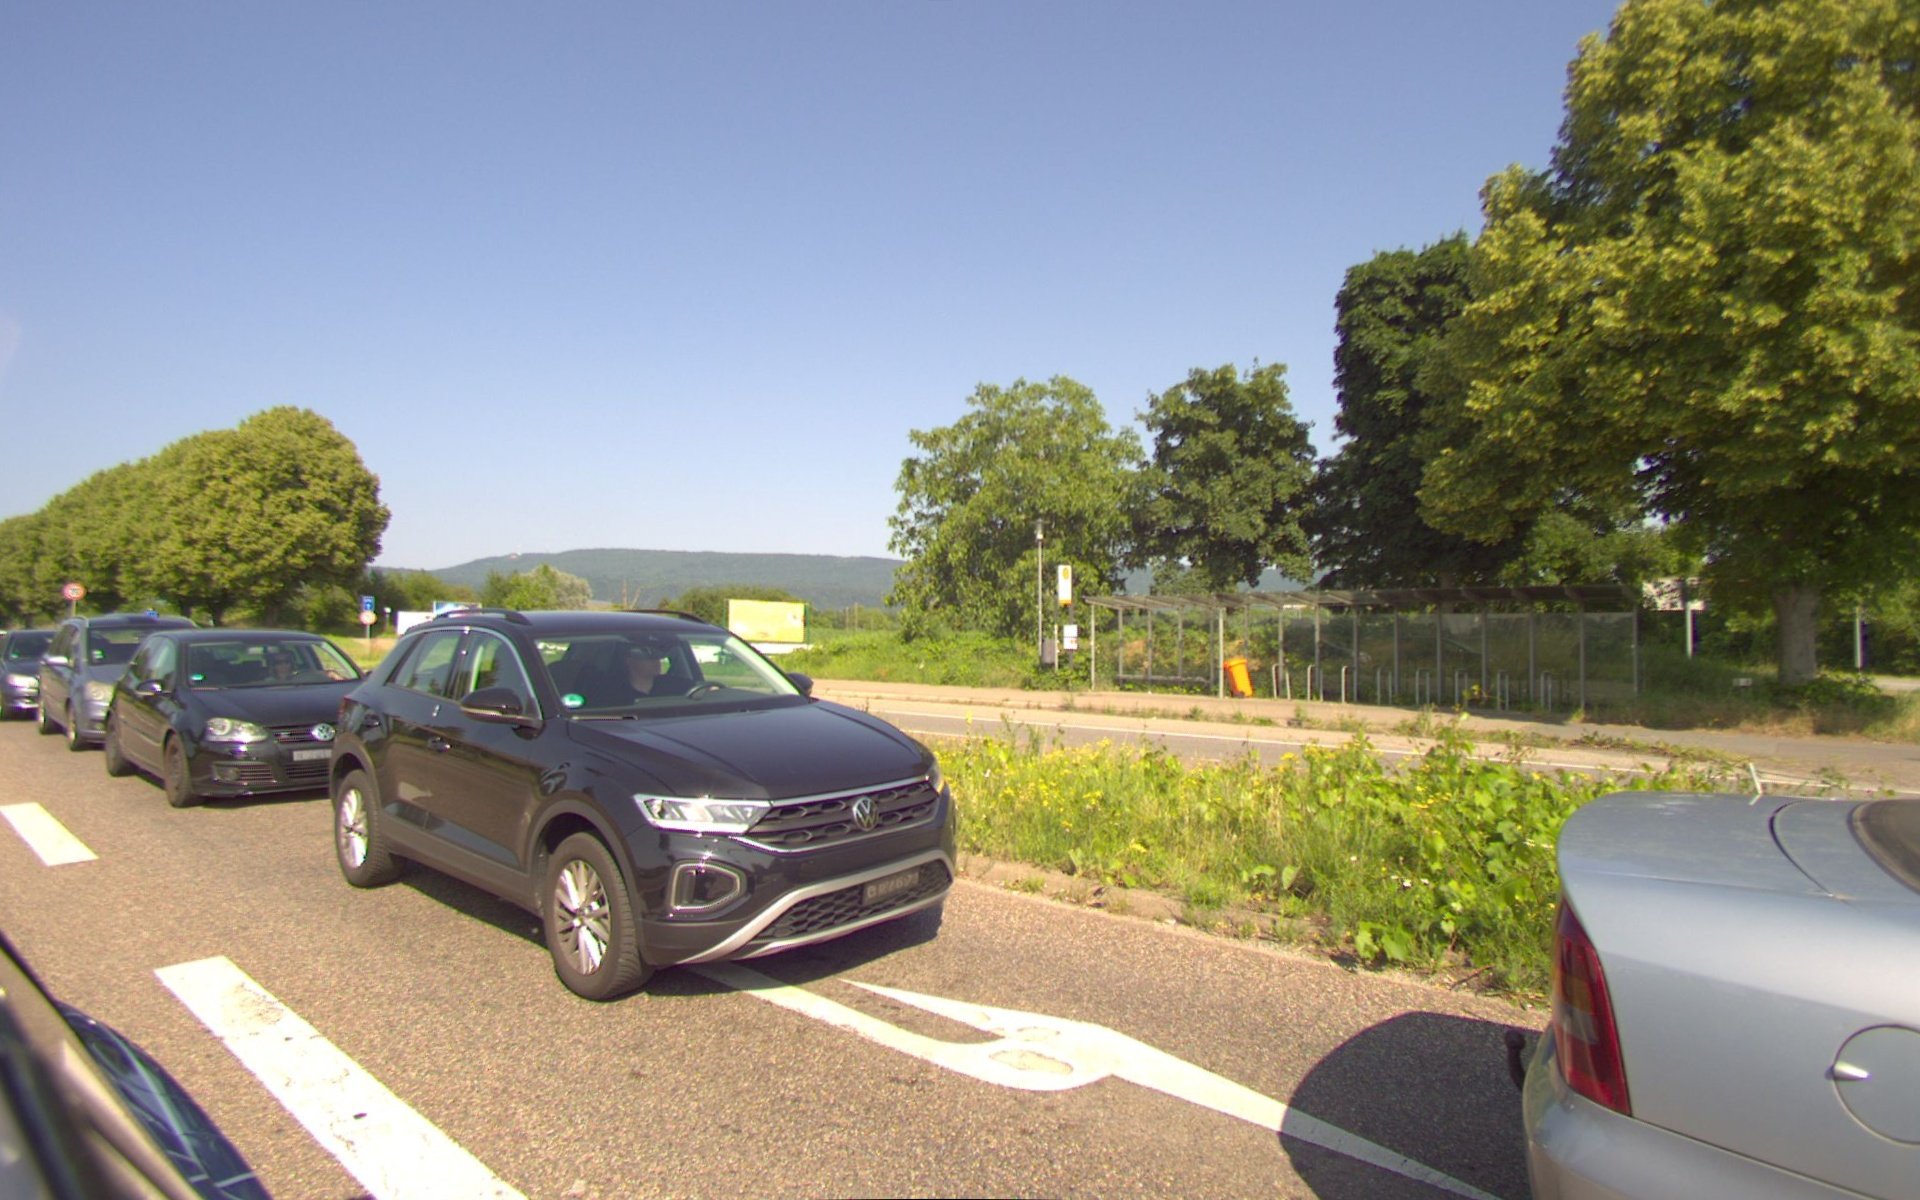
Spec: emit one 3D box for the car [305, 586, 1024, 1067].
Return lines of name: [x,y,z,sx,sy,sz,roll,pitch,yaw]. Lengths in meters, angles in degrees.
car: [-1.804,0.798,5.313,4.096,1.559,1.710,-2,-2,42]

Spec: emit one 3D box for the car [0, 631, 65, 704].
car: [-20.893,1.402,21.841,4.639,1.436,1.784,-2,-2,41]

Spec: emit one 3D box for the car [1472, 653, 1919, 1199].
car: [2.943,0.760,0.970,4.096,1.345,1.656,-1,-3,42]

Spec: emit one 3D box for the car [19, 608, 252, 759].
car: [-11.012,0.989,13.403,4.355,1.685,1.723,-2,-2,42]

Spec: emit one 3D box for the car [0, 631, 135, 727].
car: [-15.661,1.259,17.326,4.353,1.421,1.696,-2,-2,42]

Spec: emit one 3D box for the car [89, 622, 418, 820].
car: [-6.812,0.971,9.590,4.096,1.486,1.648,-2,-2,42]
